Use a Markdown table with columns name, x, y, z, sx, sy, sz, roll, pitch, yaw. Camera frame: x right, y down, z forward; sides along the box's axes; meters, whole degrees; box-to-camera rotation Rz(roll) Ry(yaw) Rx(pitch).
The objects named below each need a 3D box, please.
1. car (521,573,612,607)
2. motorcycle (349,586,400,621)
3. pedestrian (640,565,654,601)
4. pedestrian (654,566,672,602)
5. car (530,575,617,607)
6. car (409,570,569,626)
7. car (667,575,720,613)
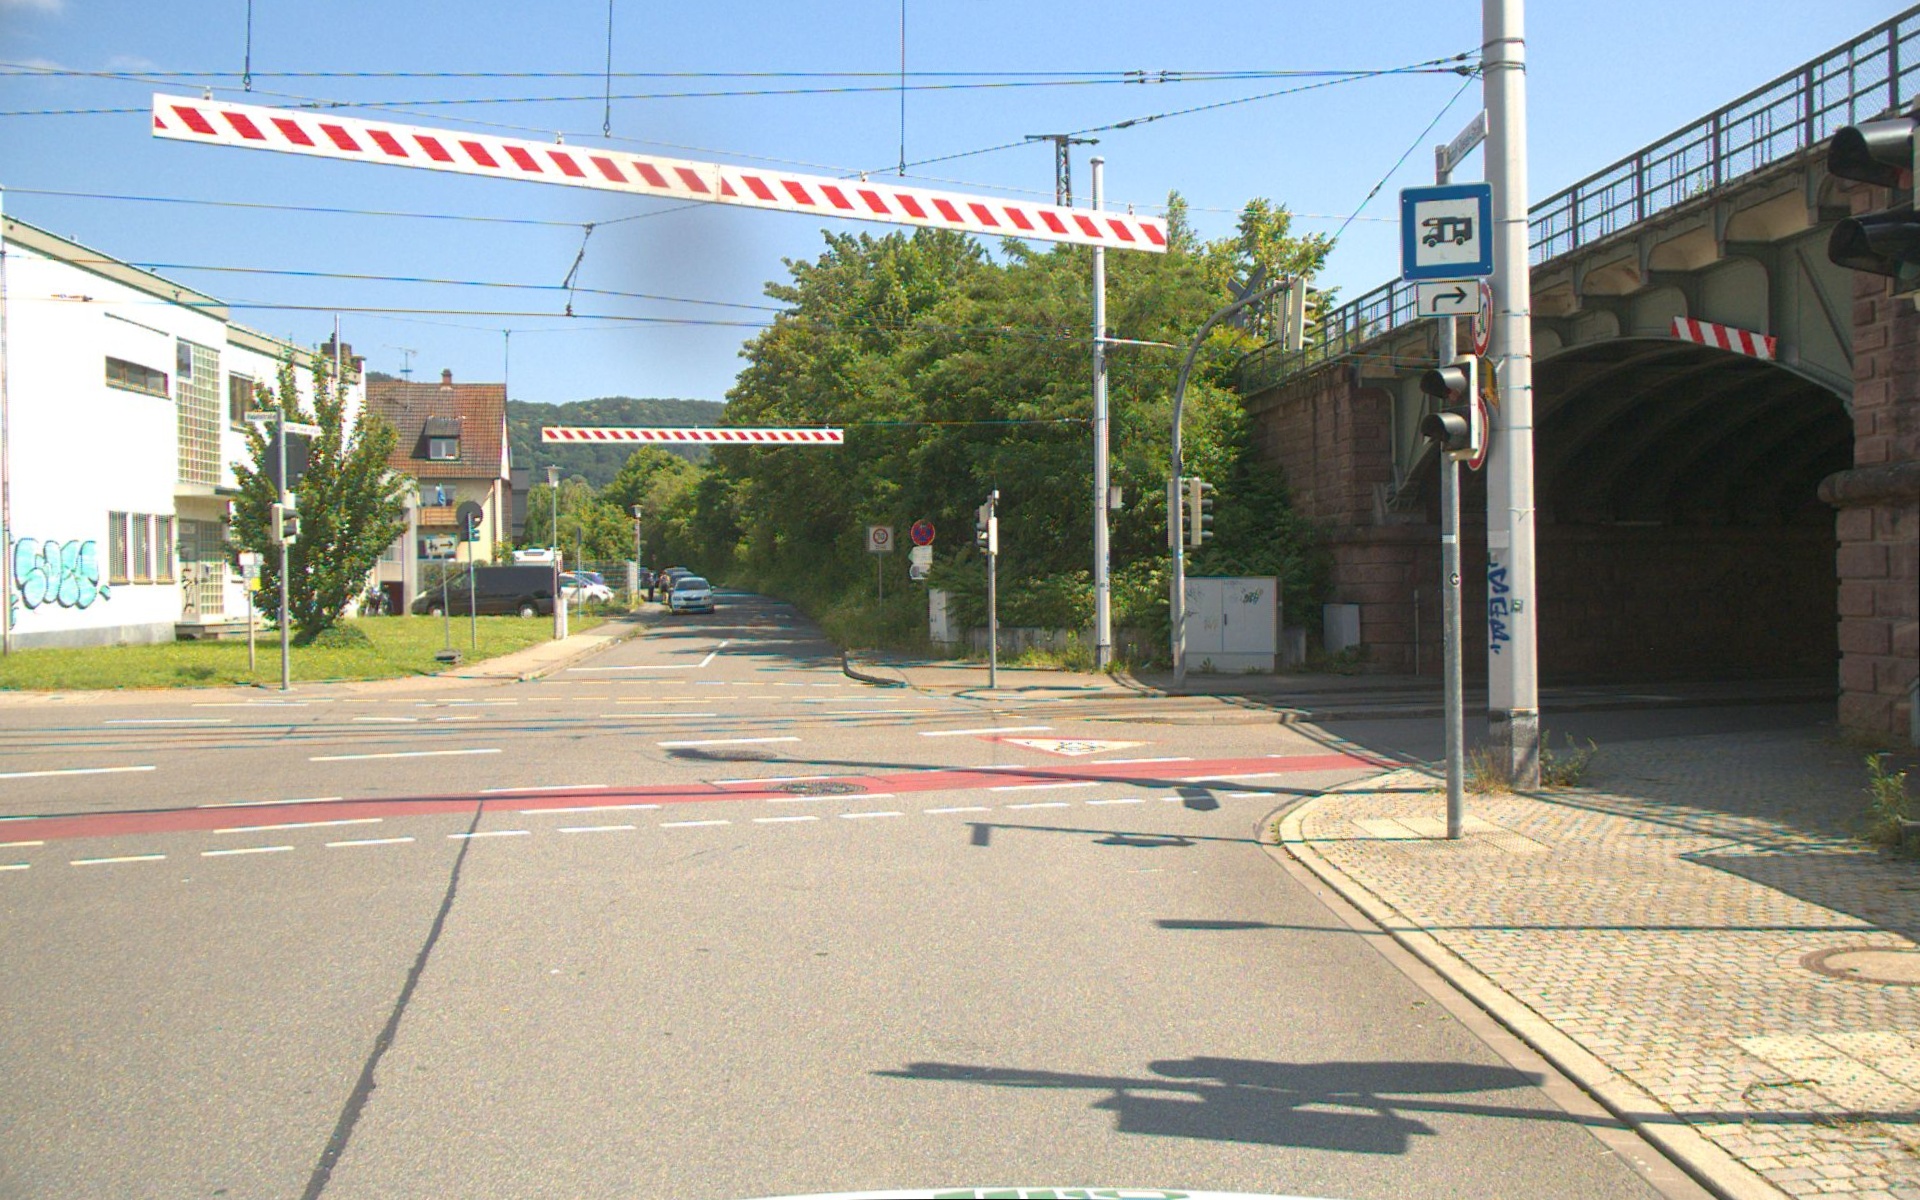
| name | x | y | z | sx | sy | sz | roll | pitch | yaw |
| --- | --- | --- | --- | --- | --- | --- | --- | --- | --- |
| car | -17.190 | -0.429 | 72.328 | 3.649 | 1.396 | 1.602 | 1 | -1 | -7 |
| motorcycle | -18.458 | 0.113 | 52.171 | 0.835 | 1.050 | 2.564 | 1 | -1 | -4 |
| pedestrian | -15.763 | -0.836 | 83.341 | 0.641 | 1.794 | 0.802 | 1 | -1 | -8 |
| pedestrian | -14.963 | -0.821 | 83.401 | 0.859 | 1.794 | 0.729 | 1 | -1 | -8 |
| car | -17.471 | -0.402 | 74.928 | 3.649 | 1.395 | 1.602 | 1 | -1 | -7 |
| car | -16.495 | -0.083 | 58.169 | 5.151 | 1.848 | 1.996 | -1 | 0 | -9 |
| car | -11.178 | -0.283 | 69.659 | 2.047 | 1.536 | 4.532 | 1 | 1 | -7 |
